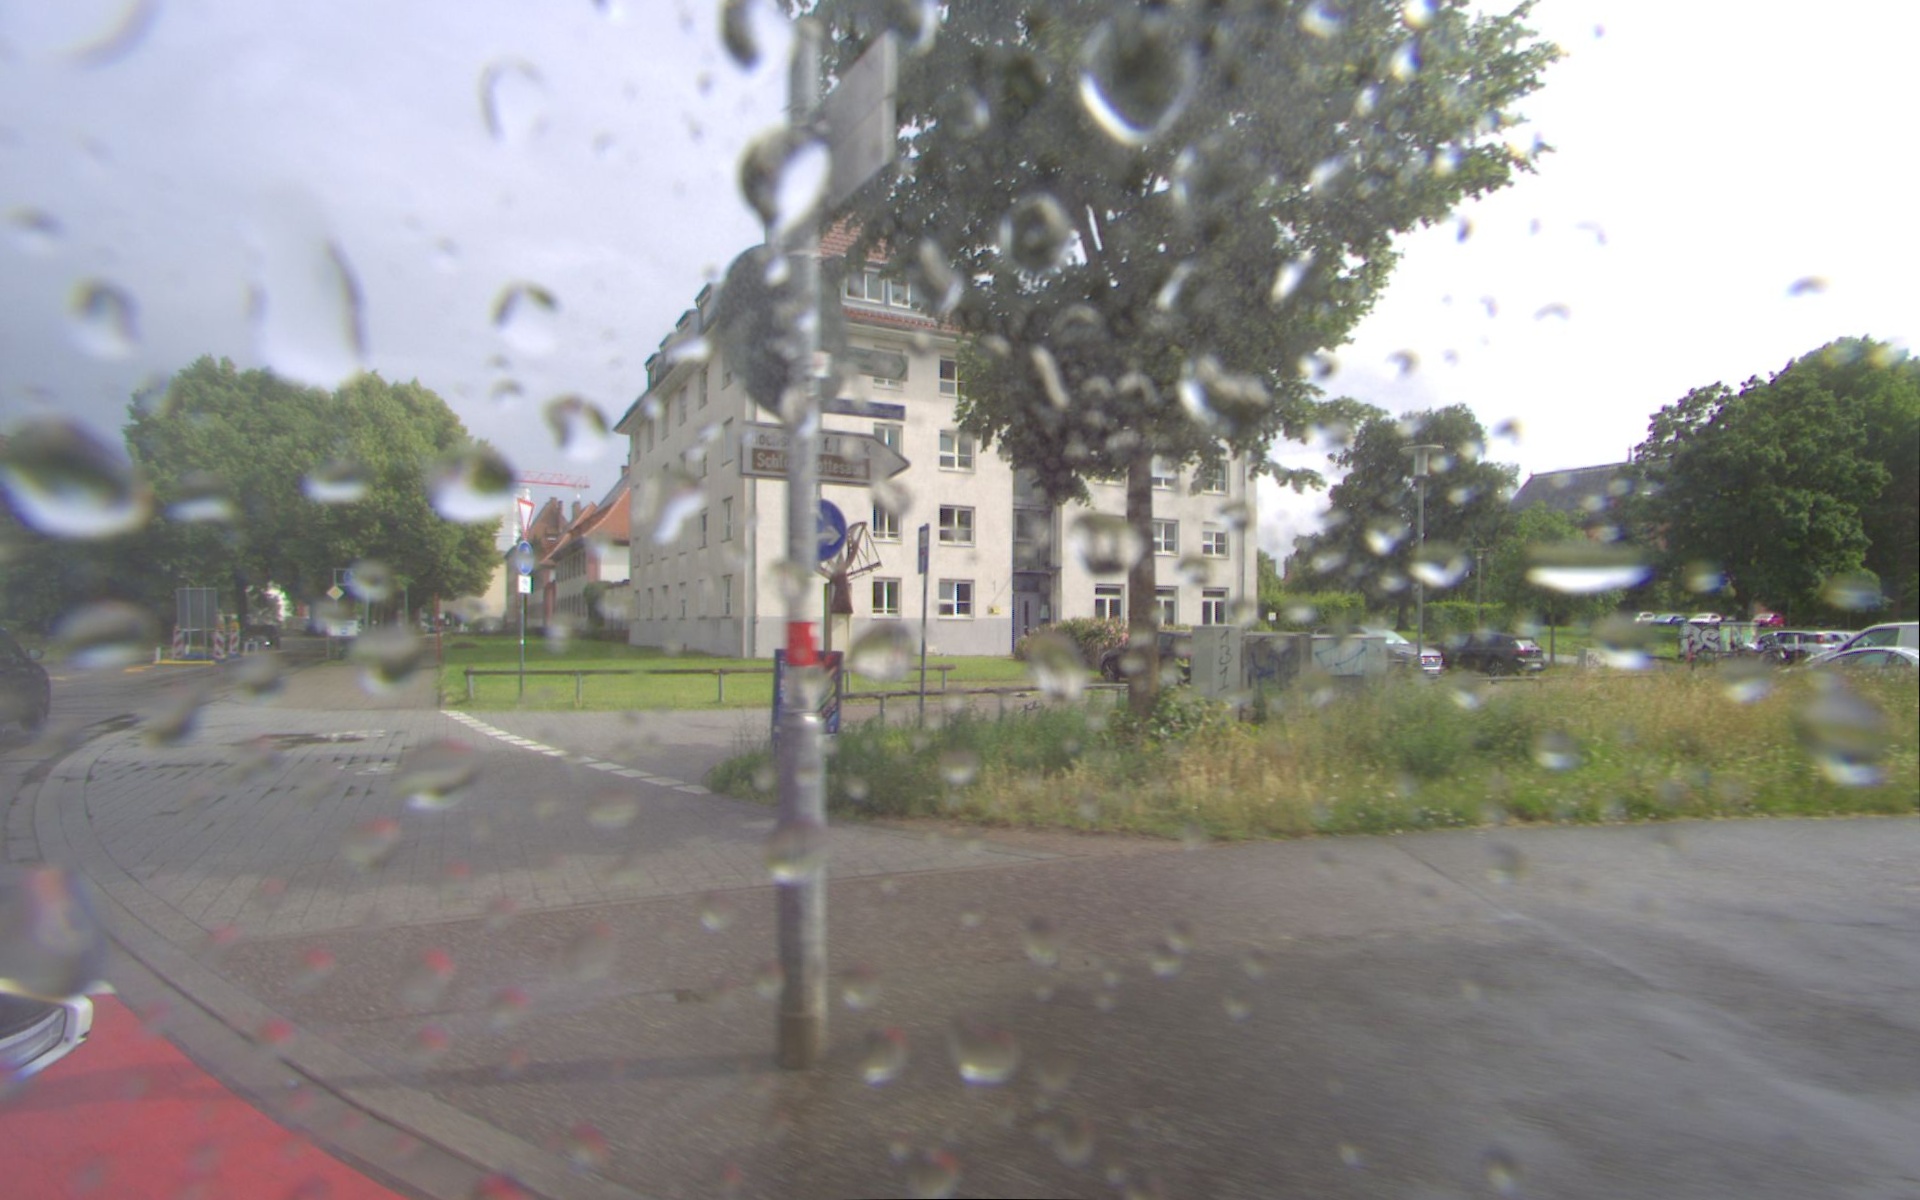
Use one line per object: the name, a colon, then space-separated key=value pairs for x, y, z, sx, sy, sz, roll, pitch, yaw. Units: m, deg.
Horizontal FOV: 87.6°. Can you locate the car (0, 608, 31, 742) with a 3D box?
car: x=-13.434 y=0.906 z=12.875 sx=1.883 sy=1.638 sz=3.967 roll=3 pitch=-3 yaw=-39

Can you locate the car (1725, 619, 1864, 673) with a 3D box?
car: x=34.503 y=1.862 z=41.513 sx=1.973 sy=2.039 sz=3.978 roll=3 pitch=-2 yaw=-31

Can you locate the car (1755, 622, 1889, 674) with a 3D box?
car: x=37.174 y=2.040 z=43.276 sx=1.973 sy=2.039 sz=3.978 roll=3 pitch=-2 yaw=-31

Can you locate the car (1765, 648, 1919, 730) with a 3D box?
car: x=18.926 y=1.776 z=20.416 sx=1.583 sy=1.529 sz=3.608 roll=1 pitch=-2 yaw=-25

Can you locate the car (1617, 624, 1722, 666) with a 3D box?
car: x=37.110 y=2.338 z=52.462 sx=1.973 sy=2.039 sz=3.978 roll=3 pitch=-2 yaw=-31

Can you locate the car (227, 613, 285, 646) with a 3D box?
car: x=-40.746 y=1.660 z=58.038 sx=2.051 sy=1.754 sz=4.677 roll=3 pitch=-2 yaw=-27

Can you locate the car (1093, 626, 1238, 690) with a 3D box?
car: x=5.290 y=1.453 z=26.174 sx=1.652 sy=1.501 sz=3.719 roll=1 pitch=-1 yaw=-30

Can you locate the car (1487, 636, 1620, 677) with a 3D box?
car: x=19.961 y=1.867 z=33.803 sx=1.638 sy=1.252 sz=3.566 roll=1 pitch=-2 yaw=-27

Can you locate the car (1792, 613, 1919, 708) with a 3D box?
car: x=22.106 y=1.340 z=22.301 sx=2.079 sy=2.085 sz=5.143 roll=0 pitch=0 yaw=-24

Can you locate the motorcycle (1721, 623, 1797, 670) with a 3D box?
motorcycle: x=32.569 y=1.878 z=40.857 sx=0.650 sy=1.789 sz=2.337 roll=3 pitch=-2 yaw=-31

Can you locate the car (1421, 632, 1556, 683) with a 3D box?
car: x=17.005 y=1.800 z=32.382 sx=1.638 sy=1.364 sz=3.564 roll=1 pitch=1 yaw=-26

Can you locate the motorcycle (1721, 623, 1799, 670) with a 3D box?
motorcycle: x=32.071 y=1.834 z=40.180 sx=0.650 sy=1.789 sz=2.337 roll=3 pitch=-2 yaw=-31

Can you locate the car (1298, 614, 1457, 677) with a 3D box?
car: x=12.241 y=1.287 z=29.621 sx=1.825 sy=1.573 sz=4.084 roll=1 pitch=1 yaw=-29

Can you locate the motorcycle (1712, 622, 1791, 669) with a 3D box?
motorcycle: x=31.294 y=1.780 z=39.617 sx=0.650 sy=1.789 sz=2.337 roll=3 pitch=-2 yaw=-31
